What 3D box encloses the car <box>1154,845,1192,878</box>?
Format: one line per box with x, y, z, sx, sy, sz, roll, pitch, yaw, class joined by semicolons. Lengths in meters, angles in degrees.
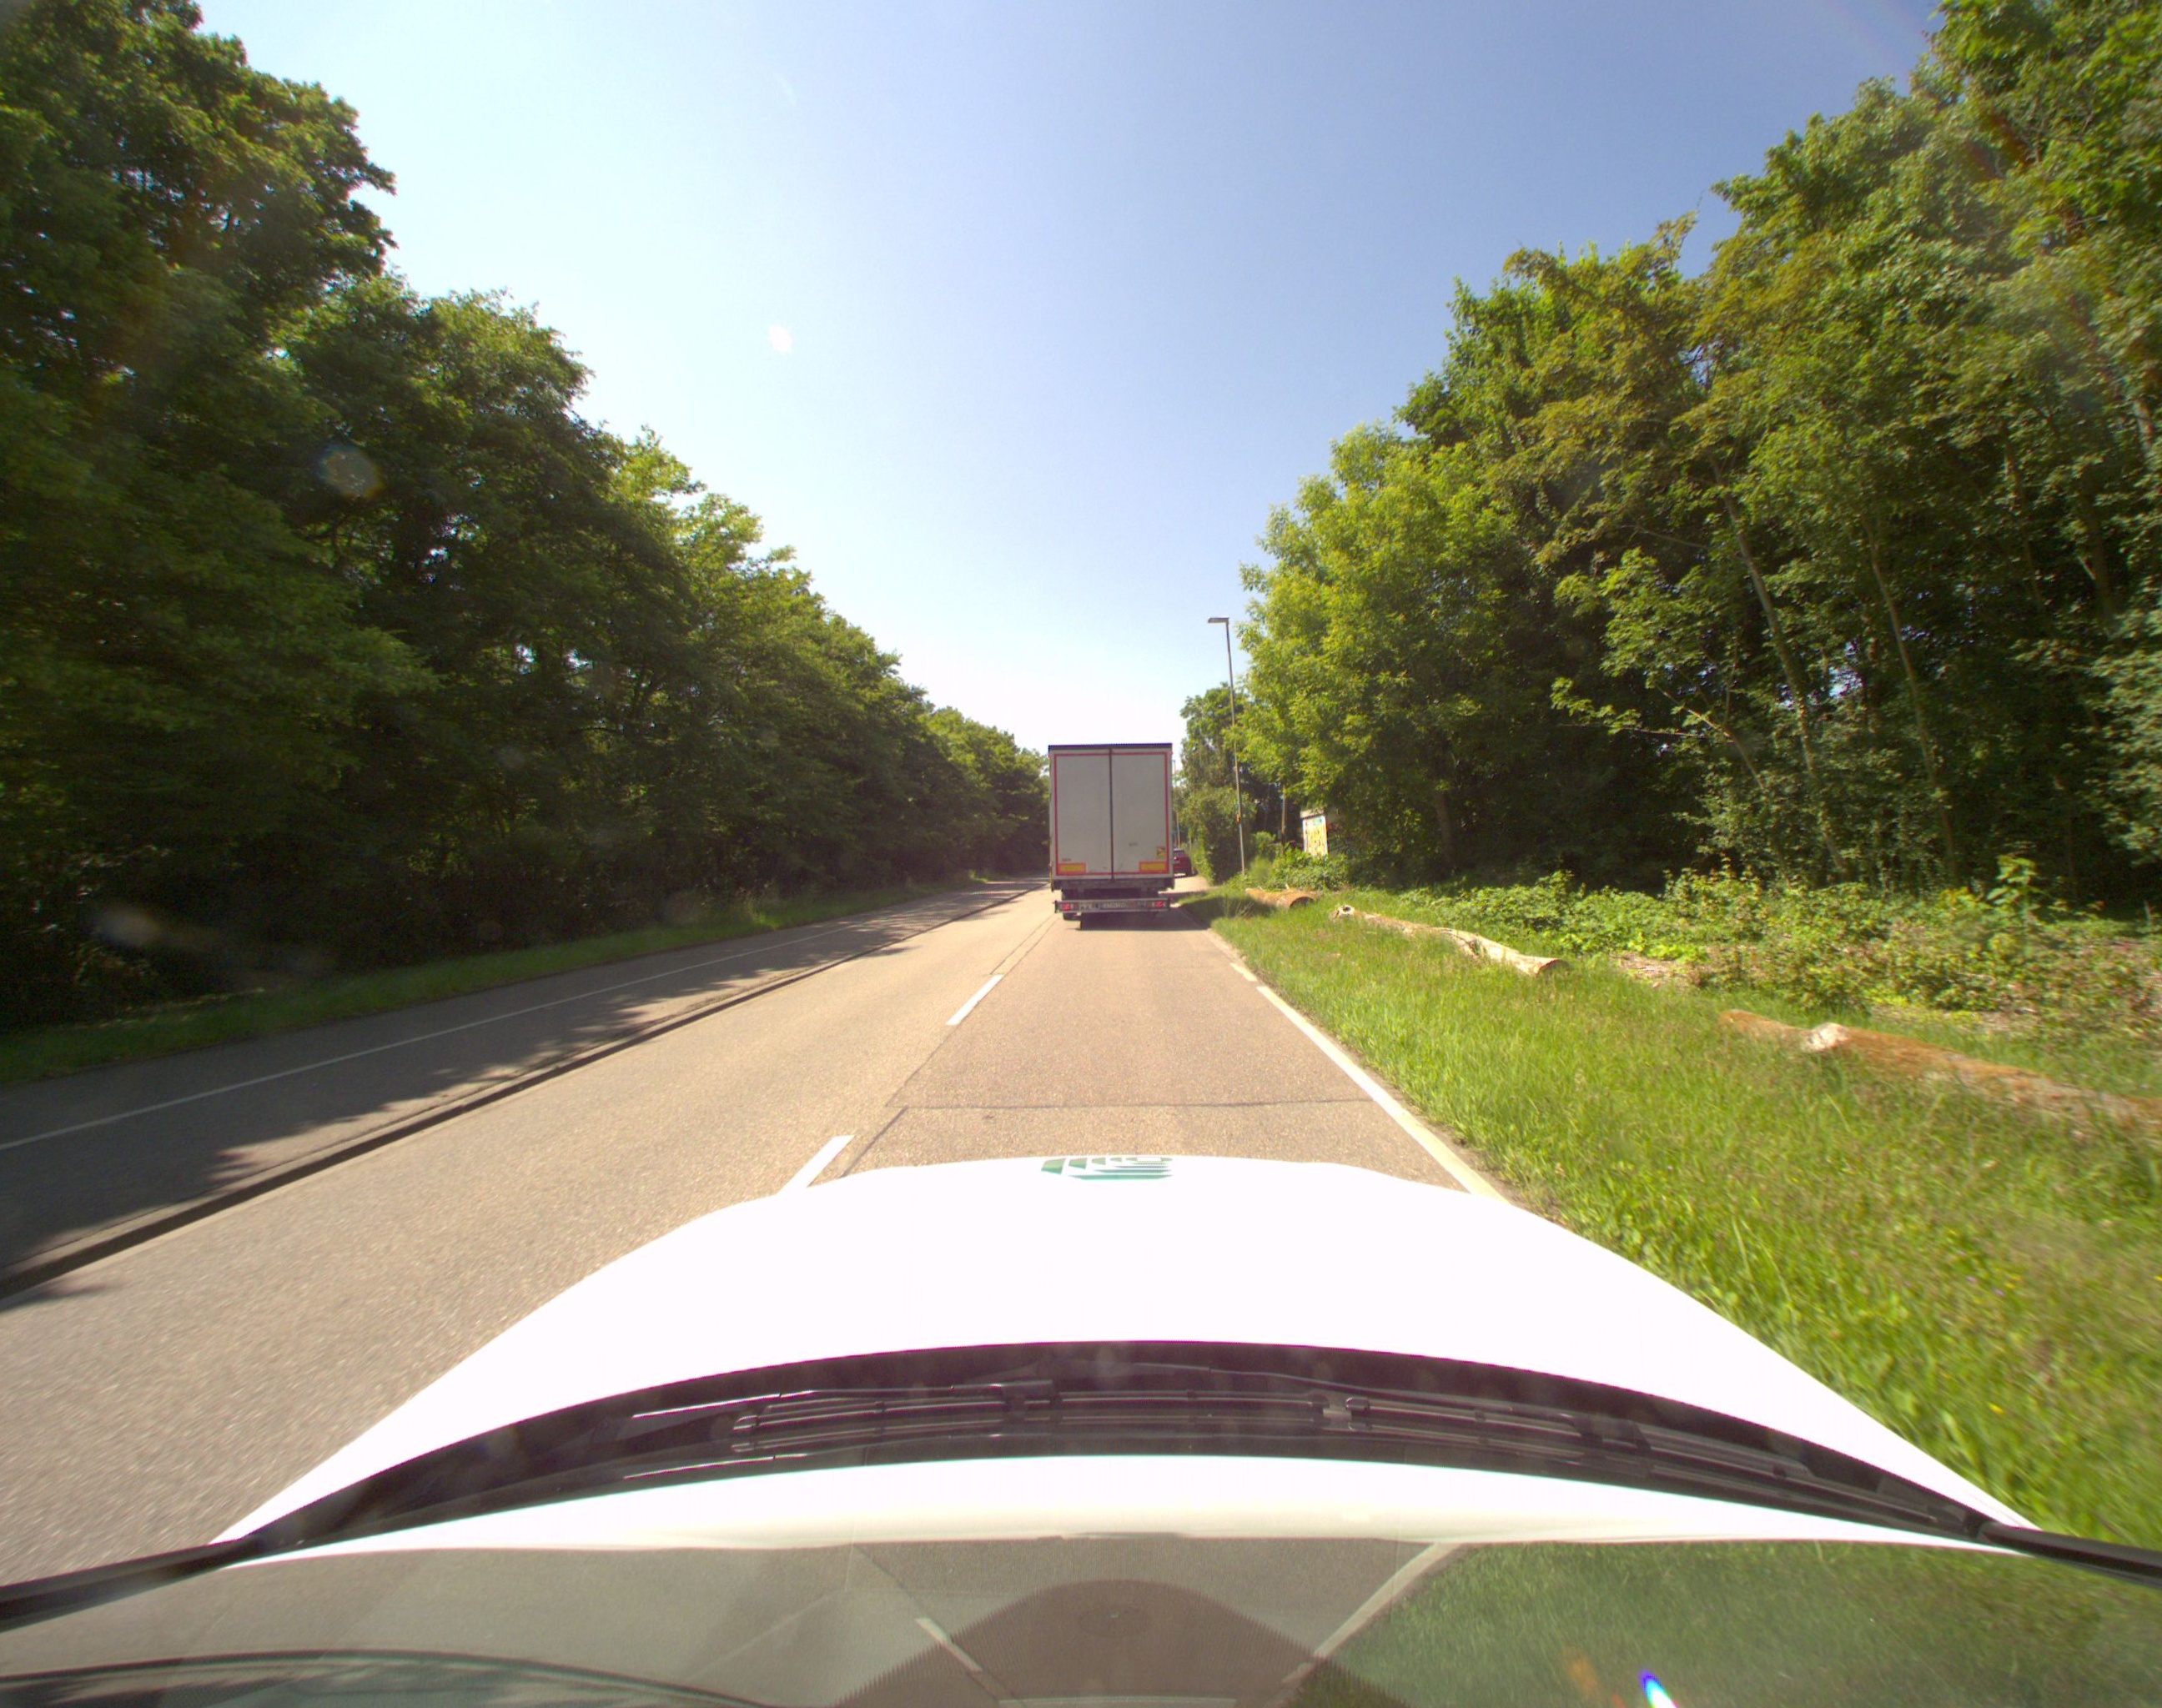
5.329;0.399;47.597;1.782;1.658;4.457;-7;0;4;car

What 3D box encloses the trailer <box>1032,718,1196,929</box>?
0.844;-0.631;22.260;3.101;4.102;11.541;-3;0;2;trailer
